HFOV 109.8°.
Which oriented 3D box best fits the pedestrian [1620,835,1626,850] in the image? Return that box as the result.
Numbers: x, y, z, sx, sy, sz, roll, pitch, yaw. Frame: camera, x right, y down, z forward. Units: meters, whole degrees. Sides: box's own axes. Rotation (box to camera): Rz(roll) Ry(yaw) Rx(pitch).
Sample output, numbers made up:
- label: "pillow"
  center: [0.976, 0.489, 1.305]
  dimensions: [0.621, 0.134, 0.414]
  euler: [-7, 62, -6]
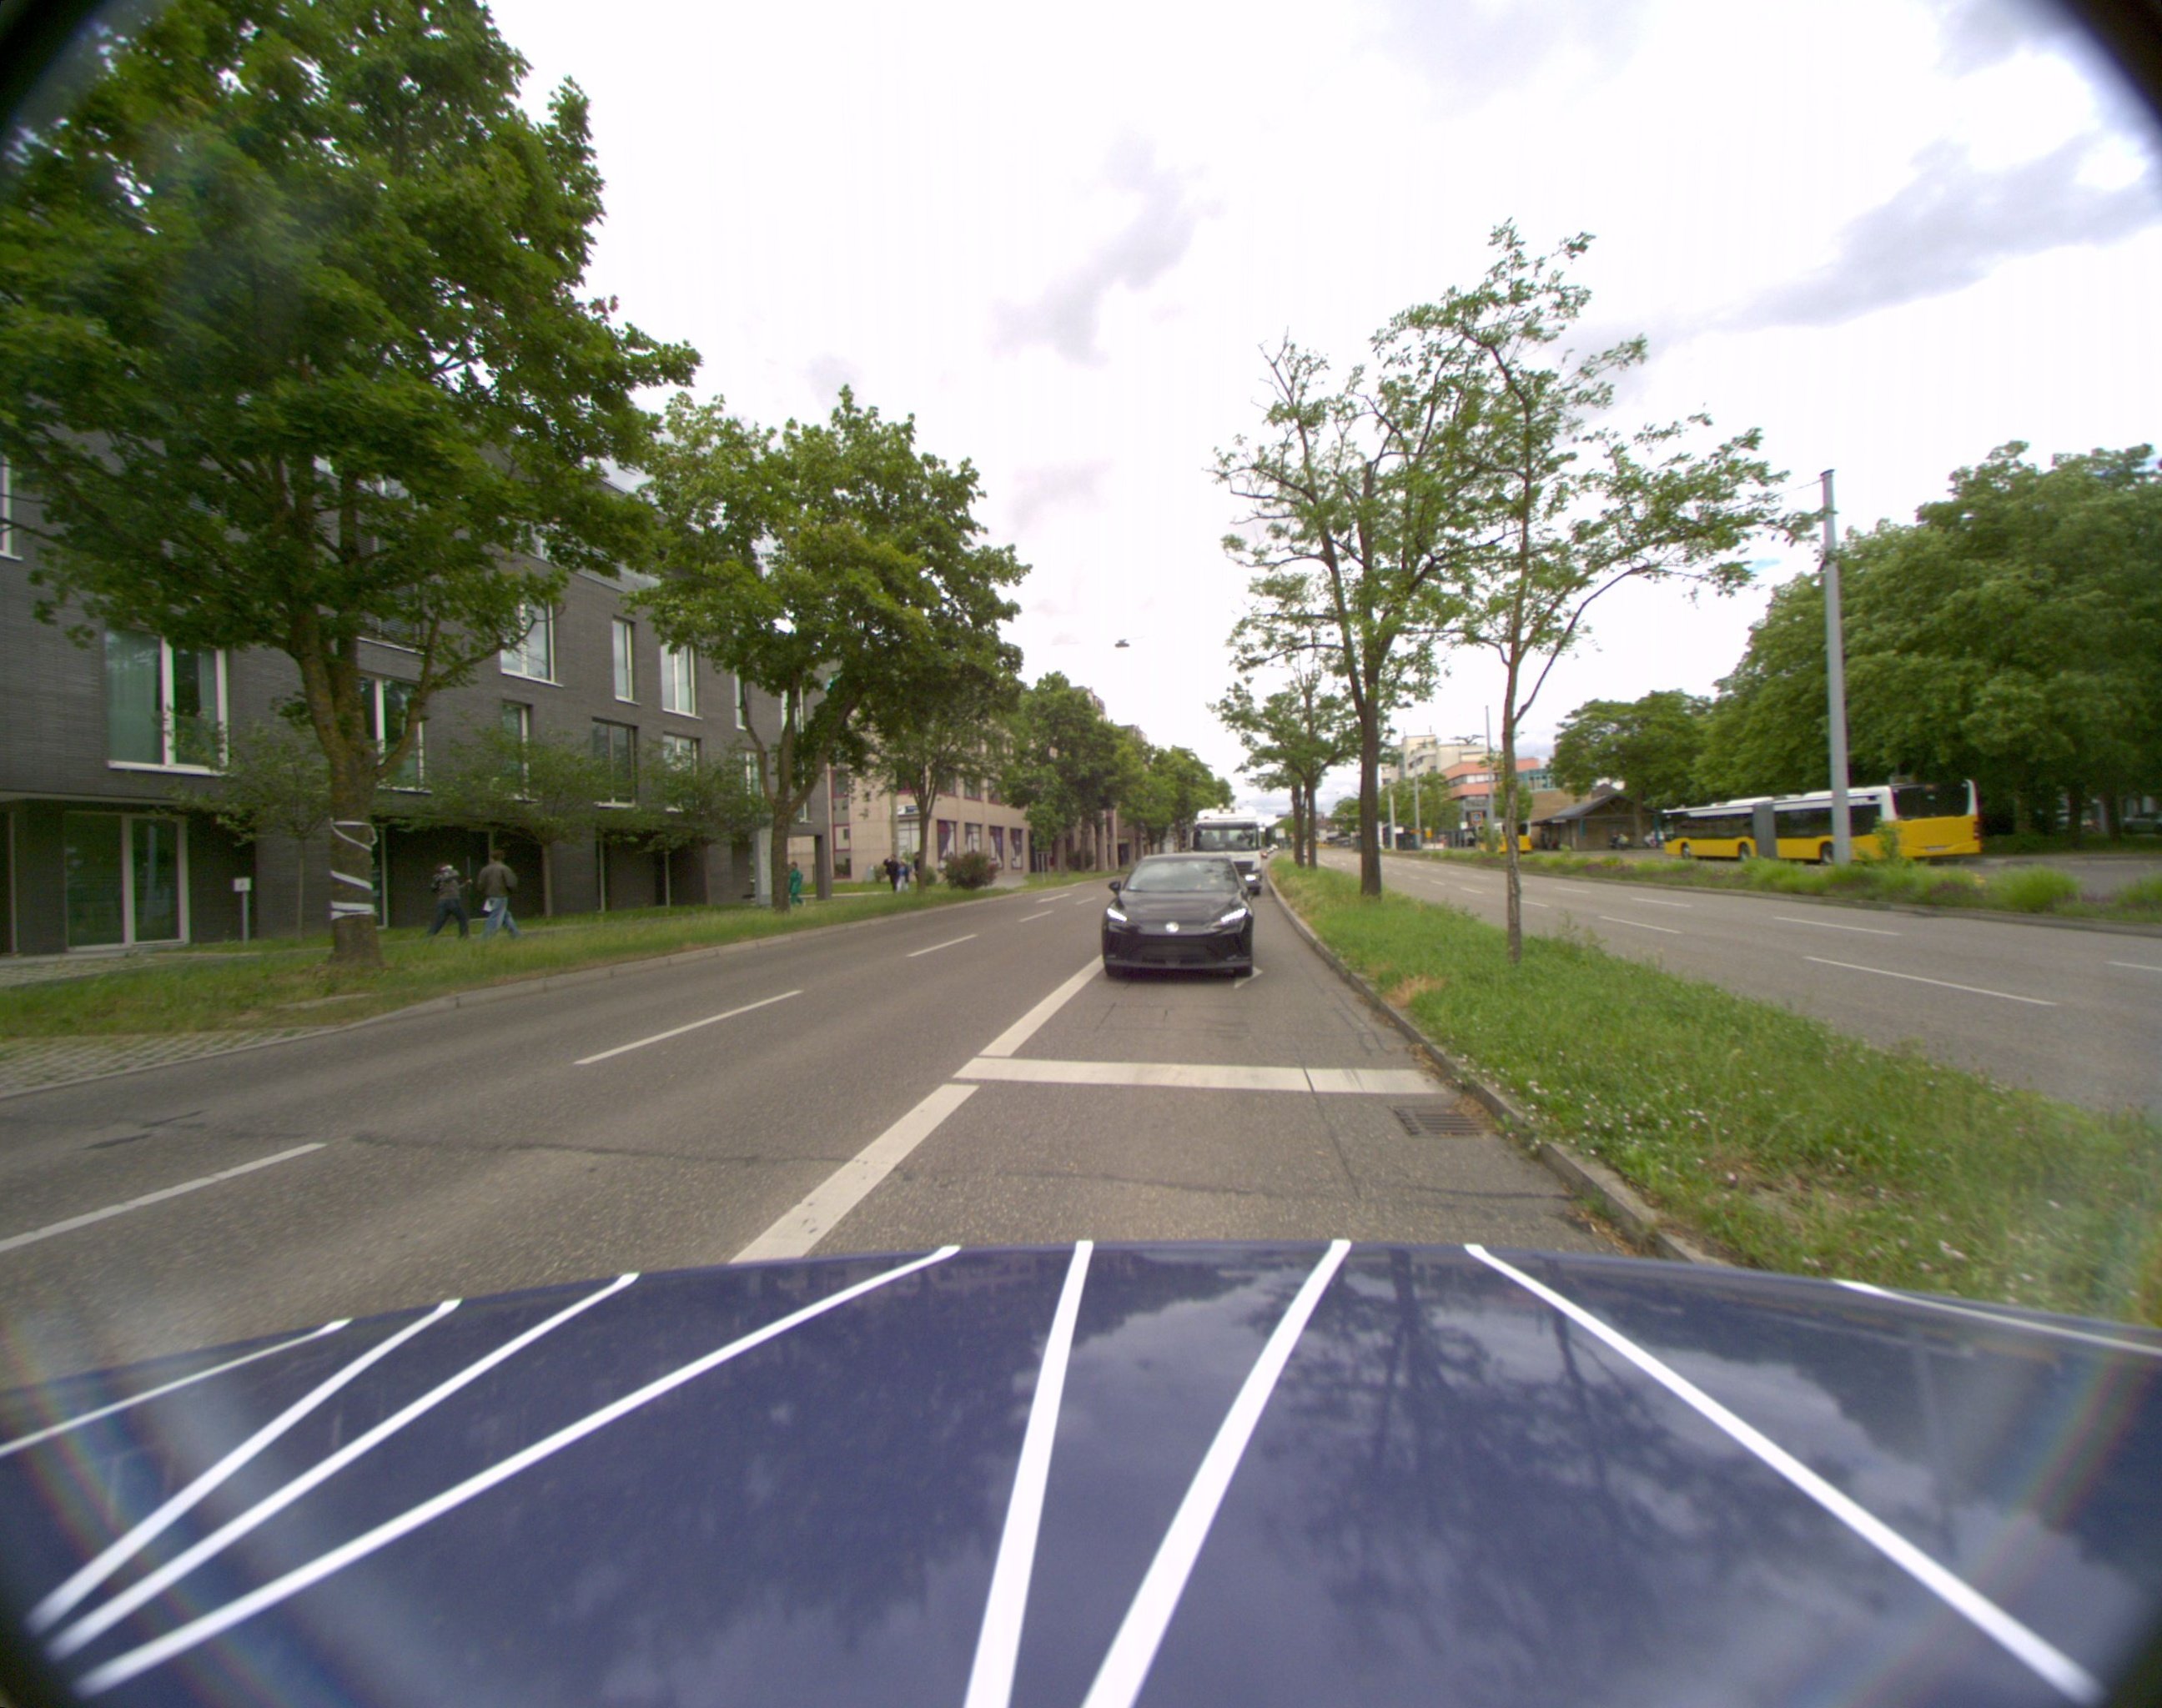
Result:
- label: "pedestrian"
  center: [42.751, -0.873, 59.930]
  dimensions: [0.367, 1.160, 0.899]
  euler: [-1, 1, 37]

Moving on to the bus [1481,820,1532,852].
- label: "bus"
  center: [40.730, -1.683, 73.024]
  dimensions: [2.885, 2.793, 9.188]
  euler: [-2, 0, 21]

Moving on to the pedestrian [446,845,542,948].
- label: "pedestrian"
  center: [-10.958, 0.773, 14.212]
  dimensions: [0.961, 1.857, 0.979]
  euler: [-2, 1, 13]

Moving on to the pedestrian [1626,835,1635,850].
- label: "pedestrian"
  center: [43.055, -0.878, 59.529]
  dimensions: [0.598, 1.155, 0.744]
  euler: [-1, 1, 37]

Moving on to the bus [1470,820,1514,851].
- label: "bus"
  center: [43.857, -1.912, 81.269]
  dimensions: [2.885, 2.985, 9.188]
  euler: [-2, 0, 21]

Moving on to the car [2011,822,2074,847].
- label: "car"
  center: [71.737, -1.471, 56.731]
  dimensions: [1.687, 1.740, 3.098]
  euler: [-2, 1, 25]

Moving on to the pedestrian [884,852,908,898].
- label: "pedestrian"
  center: [-7.333, 0.825, 30.084]
  dimensions: [0.642, 1.795, 0.678]
  euler: [-2, 1, 12]

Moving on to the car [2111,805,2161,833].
- label: "car"
  center: [68.028, -2.221, 48.076]
  dimensions: [1.687, 1.740, 4.006]
  euler: [-2, 1, 25]

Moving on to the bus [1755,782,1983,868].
- label: "bus"
  center: [31.454, -1.054, 30.941]
  dimensions: [2.886, 2.985, 7.892]
  euler: [-2, 0, 17]

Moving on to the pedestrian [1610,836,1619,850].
- label: "pedestrian"
  center: [43.333, -0.908, 61.716]
  dimensions: [0.598, 1.155, 0.744]
  euler: [-1, 1, 35]

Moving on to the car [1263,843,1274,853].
- label: "car"
  center: [40.989, -1.341, 166.286]
  dimensions: [1.997, 2.002, 4.002]
  euler: [-1, 1, 7]

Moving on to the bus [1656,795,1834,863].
- label: "bus"
  center: [34.065, -1.174, 39.723]
  dimensions: [2.886, 2.985, 10.405]
  euler: [-2, 0, 17]

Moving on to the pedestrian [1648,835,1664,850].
- label: "pedestrian"
  center: [44.465, -0.891, 58.787]
  dimensions: [0.649, 1.165, 0.925]
  euler: [-1, 1, 12]

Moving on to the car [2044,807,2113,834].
- label: "car"
  center: [70.076, -2.321, 53.434]
  dimensions: [1.687, 1.740, 3.098]
  euler: [-2, 1, 25]

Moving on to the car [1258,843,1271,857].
- label: "car"
  center: [26.788, -0.577, 110.825]
  dimensions: [1.725, 2.002, 4.004]
  euler: [-2, 0, 14]

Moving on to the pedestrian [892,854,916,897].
- label: "pedestrian"
  center: [-6.877, 0.820, 29.507]
  dimensions: [0.642, 1.637, 0.678]
  euler: [-2, 1, 12]

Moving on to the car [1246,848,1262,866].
- label: "car"
  center: [21.137, 0.346, 92.799]
  dimensions: [1.725, 2.002, 4.004]
  euler: [-2, 0, 14]

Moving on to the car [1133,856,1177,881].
- label: "car"
  center: [4.770, 0.892, 48.545]
  dimensions: [1.996, 1.455, 4.005]
  euler: [-2, 0, 18]

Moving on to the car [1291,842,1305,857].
- label: "car"
  center: [30.493, -0.683, 106.975]
  dimensions: [1.725, 2.002, 4.004]
  euler: [-2, 0, 14]

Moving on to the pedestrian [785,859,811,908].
- label: "pedestrian"
  center: [-8.979, 0.931, 24.132]
  dimensions: [0.495, 1.510, 0.678]
  euler: [1, 1, 12]

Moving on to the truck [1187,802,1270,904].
- label: "truck"
  center: [5.546, -0.038, 28.098]
  dimensions: [2.542, 3.187, 7.375]
  euler: [-2, 0, 13]

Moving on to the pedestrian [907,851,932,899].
- label: "pedestrian"
  center: [-6.230, 0.803, 29.350]
  dimensions: [0.642, 1.795, 0.678]
  euler: [-2, 1, 12]

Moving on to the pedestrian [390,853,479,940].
- label: "pedestrian"
  center: [-11.992, 0.766, 14.114]
  dimensions: [0.833, 1.548, 0.876]
  euler: [-2, 1, 13]

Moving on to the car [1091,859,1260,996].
- label: "car"
  center: [1.443, 0.846, 10.425]
  dimensions: [1.825, 1.430, 4.003]
  euler: [-2, 0, 12]
